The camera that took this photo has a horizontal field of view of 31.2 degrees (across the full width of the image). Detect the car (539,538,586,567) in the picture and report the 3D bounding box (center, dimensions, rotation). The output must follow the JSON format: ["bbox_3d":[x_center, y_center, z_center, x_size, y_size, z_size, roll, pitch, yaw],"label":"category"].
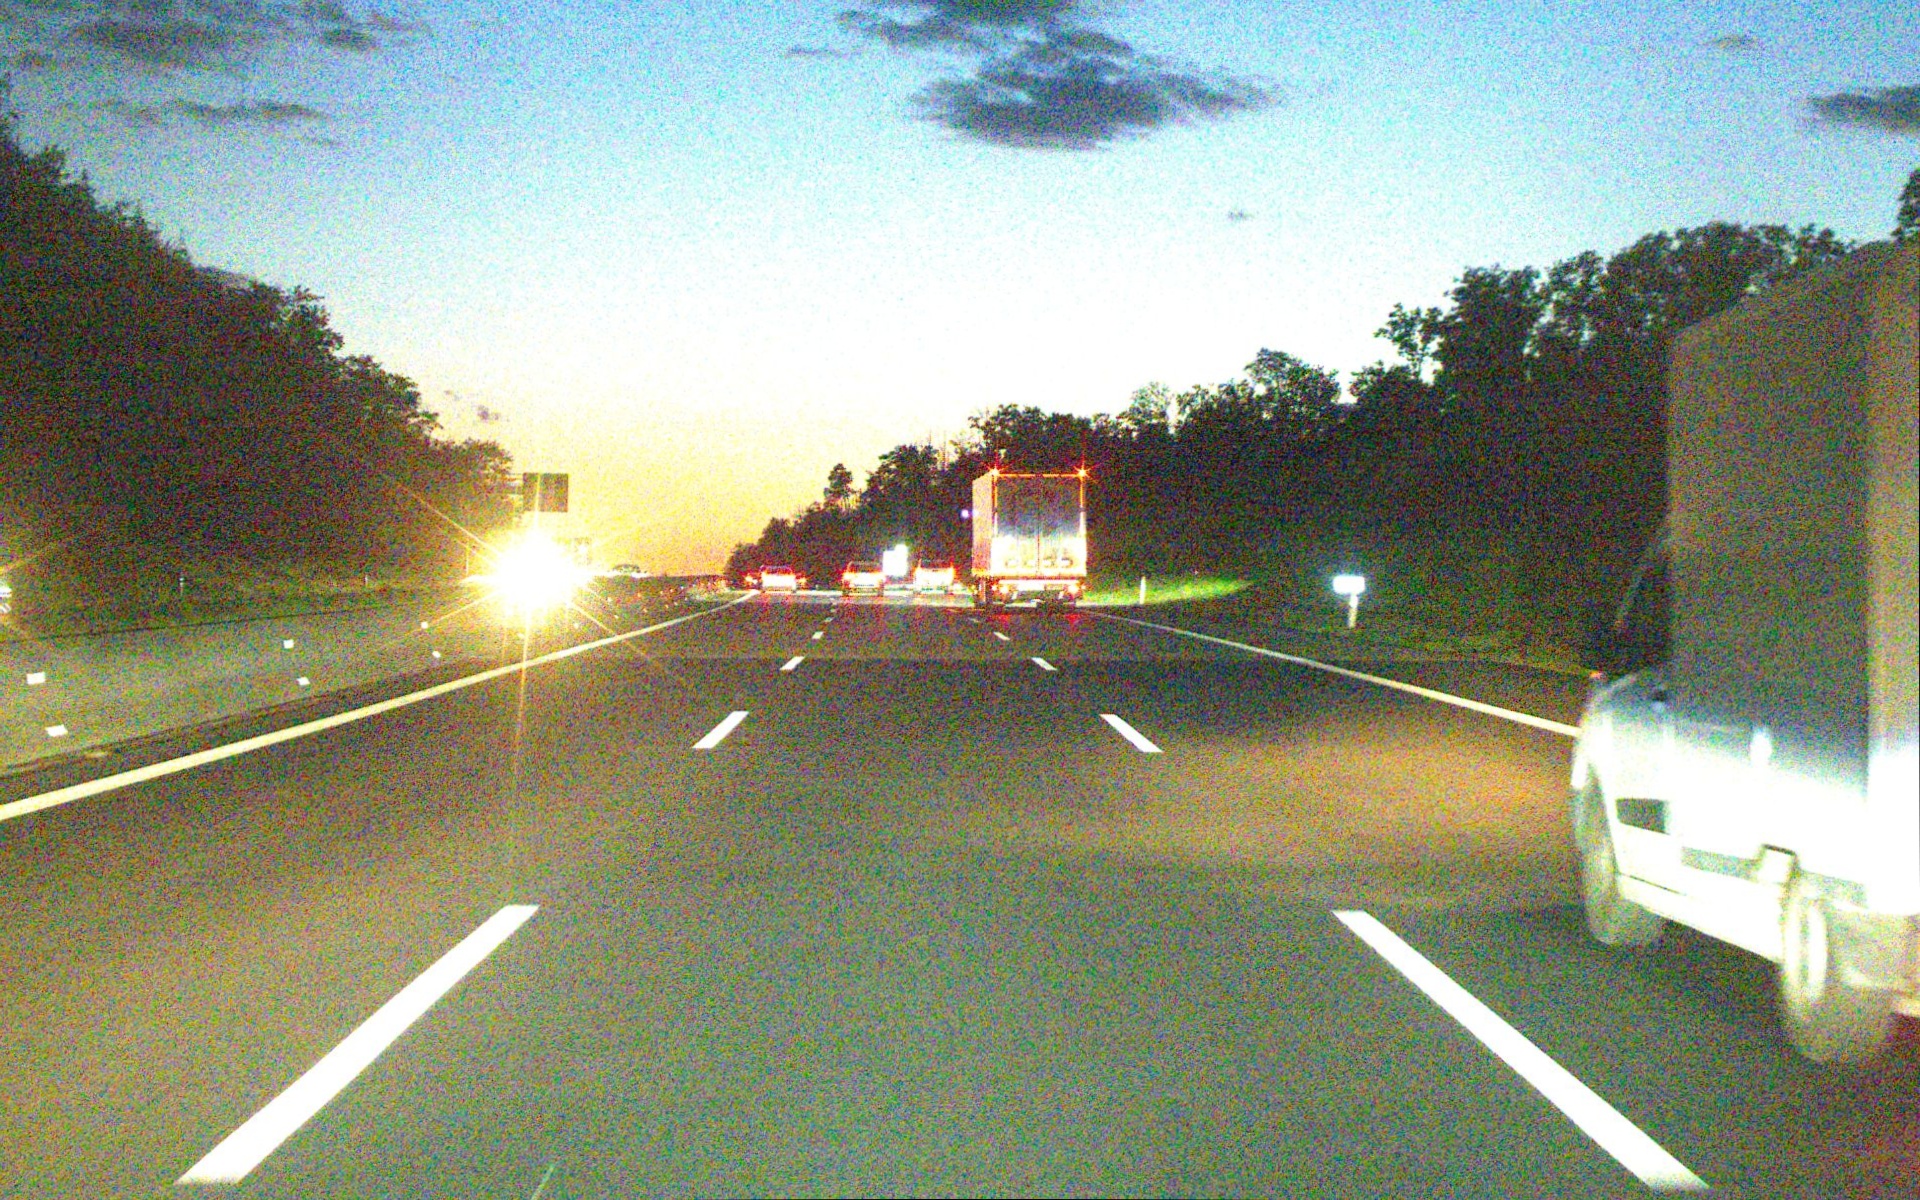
[{"bbox_3d":[-22.002,-2.617,190.386,2.244,1.592,4.888,0,1,-3],"label":"car"}]

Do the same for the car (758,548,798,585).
[{"bbox_3d":[-9.304,-1.712,175.959,1.993,1.788,4.000,1,-1,-3],"label":"car"}]

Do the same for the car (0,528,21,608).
[{"bbox_3d":[-20.996,-0.663,70.535,2.244,1.662,4.888,0,1,-2],"label":"car"}]

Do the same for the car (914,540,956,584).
[{"bbox_3d":[-1.243,-1.870,170.943,1.993,2.110,4.000,1,-1,-1],"label":"car"}]

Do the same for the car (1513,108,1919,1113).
[{"bbox_3d":[3.380,-0.001,11.875,2.032,2.638,5.725,0,1,0],"label":"car"}]

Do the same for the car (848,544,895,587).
[{"bbox_3d":[-3.927,-1.523,153.497,1.993,1.788,4.000,1,-1,0],"label":"car"}]

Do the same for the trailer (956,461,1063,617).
[{"bbox_3d":[1.348,-1.747,102.897,2.829,4.242,17.049,0,0,0],"label":"trailer"}]
